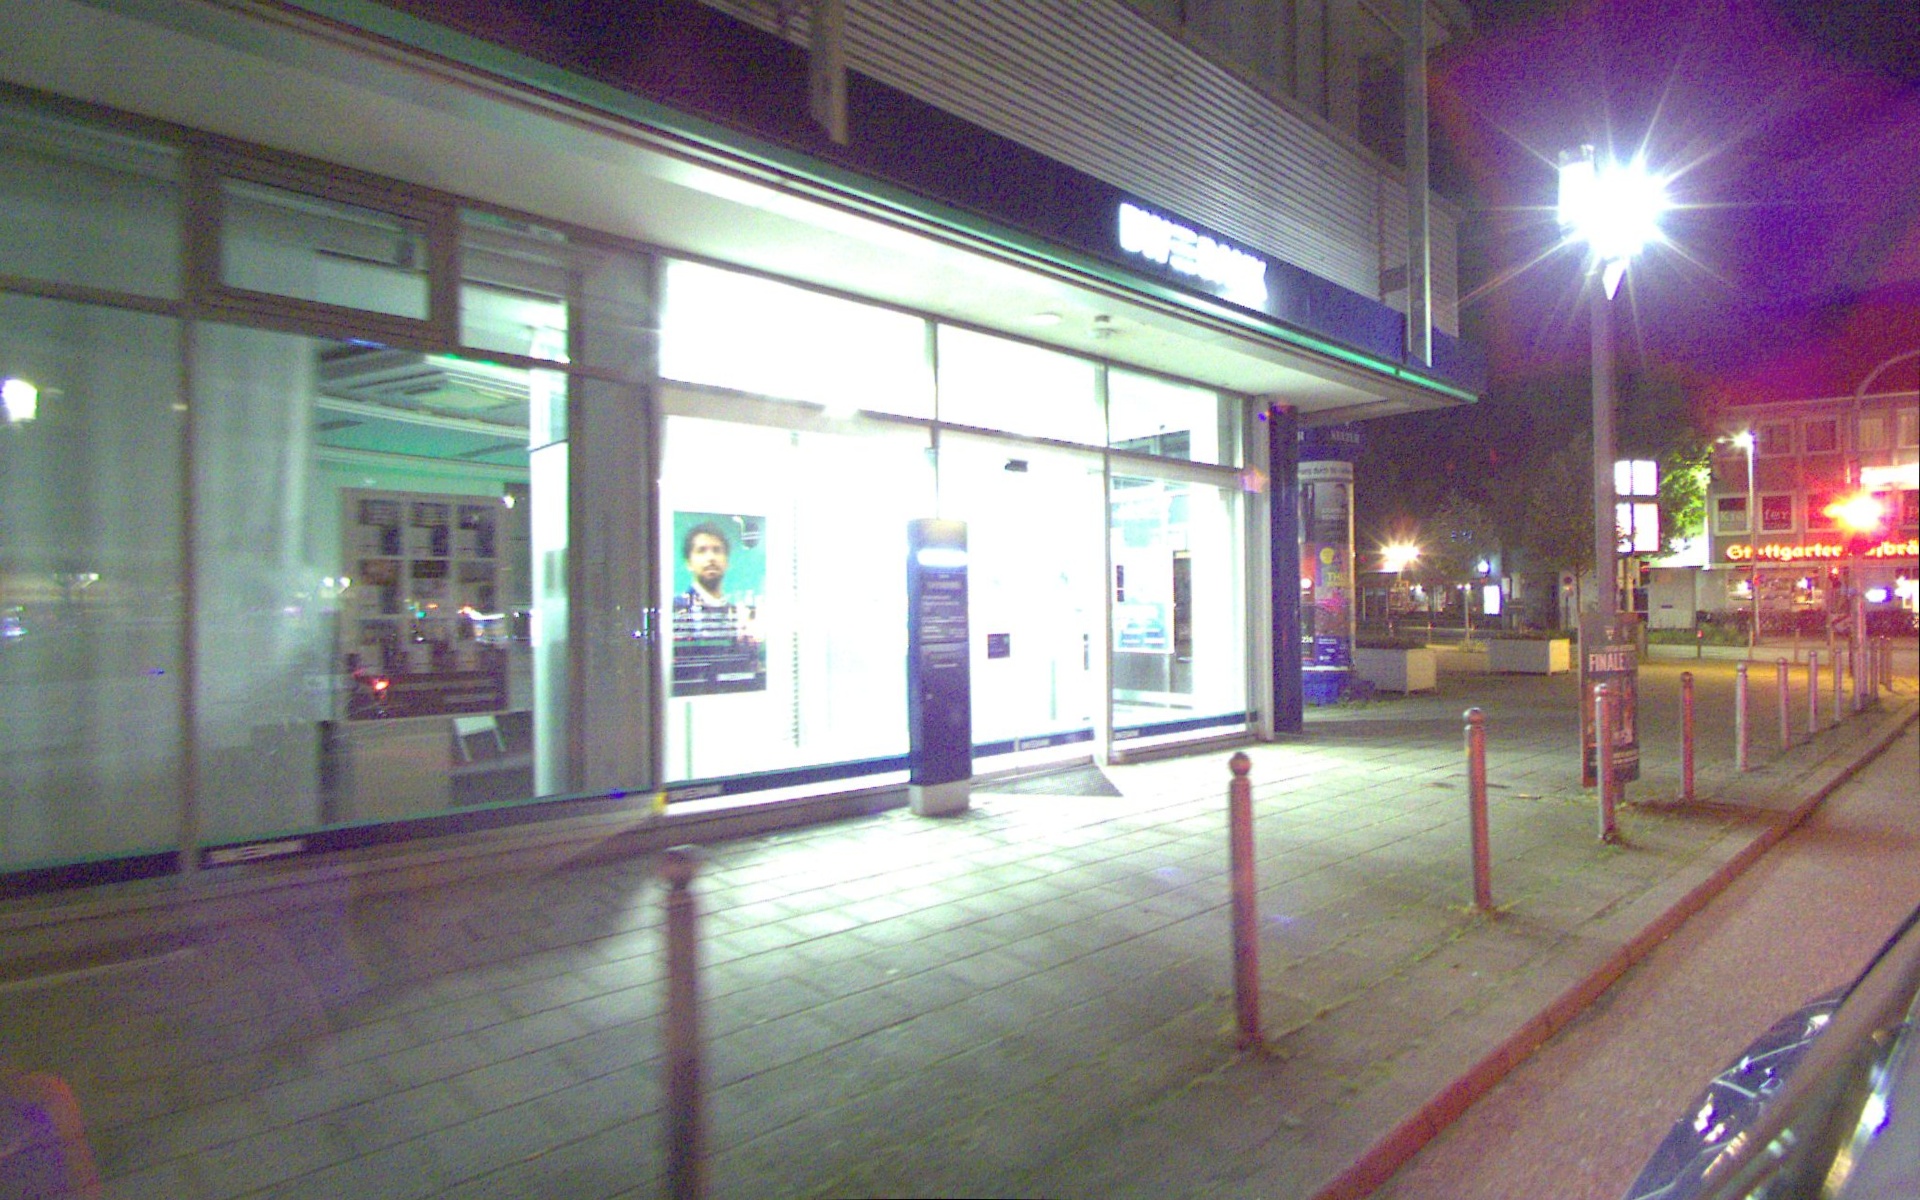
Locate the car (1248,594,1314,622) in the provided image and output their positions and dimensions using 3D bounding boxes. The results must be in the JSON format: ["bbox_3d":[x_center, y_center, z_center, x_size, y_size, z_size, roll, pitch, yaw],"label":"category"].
[{"bbox_3d":[20.400,0.474,64.515,1.836,1.674,3.869,1,0,-27],"label":"car"}]
